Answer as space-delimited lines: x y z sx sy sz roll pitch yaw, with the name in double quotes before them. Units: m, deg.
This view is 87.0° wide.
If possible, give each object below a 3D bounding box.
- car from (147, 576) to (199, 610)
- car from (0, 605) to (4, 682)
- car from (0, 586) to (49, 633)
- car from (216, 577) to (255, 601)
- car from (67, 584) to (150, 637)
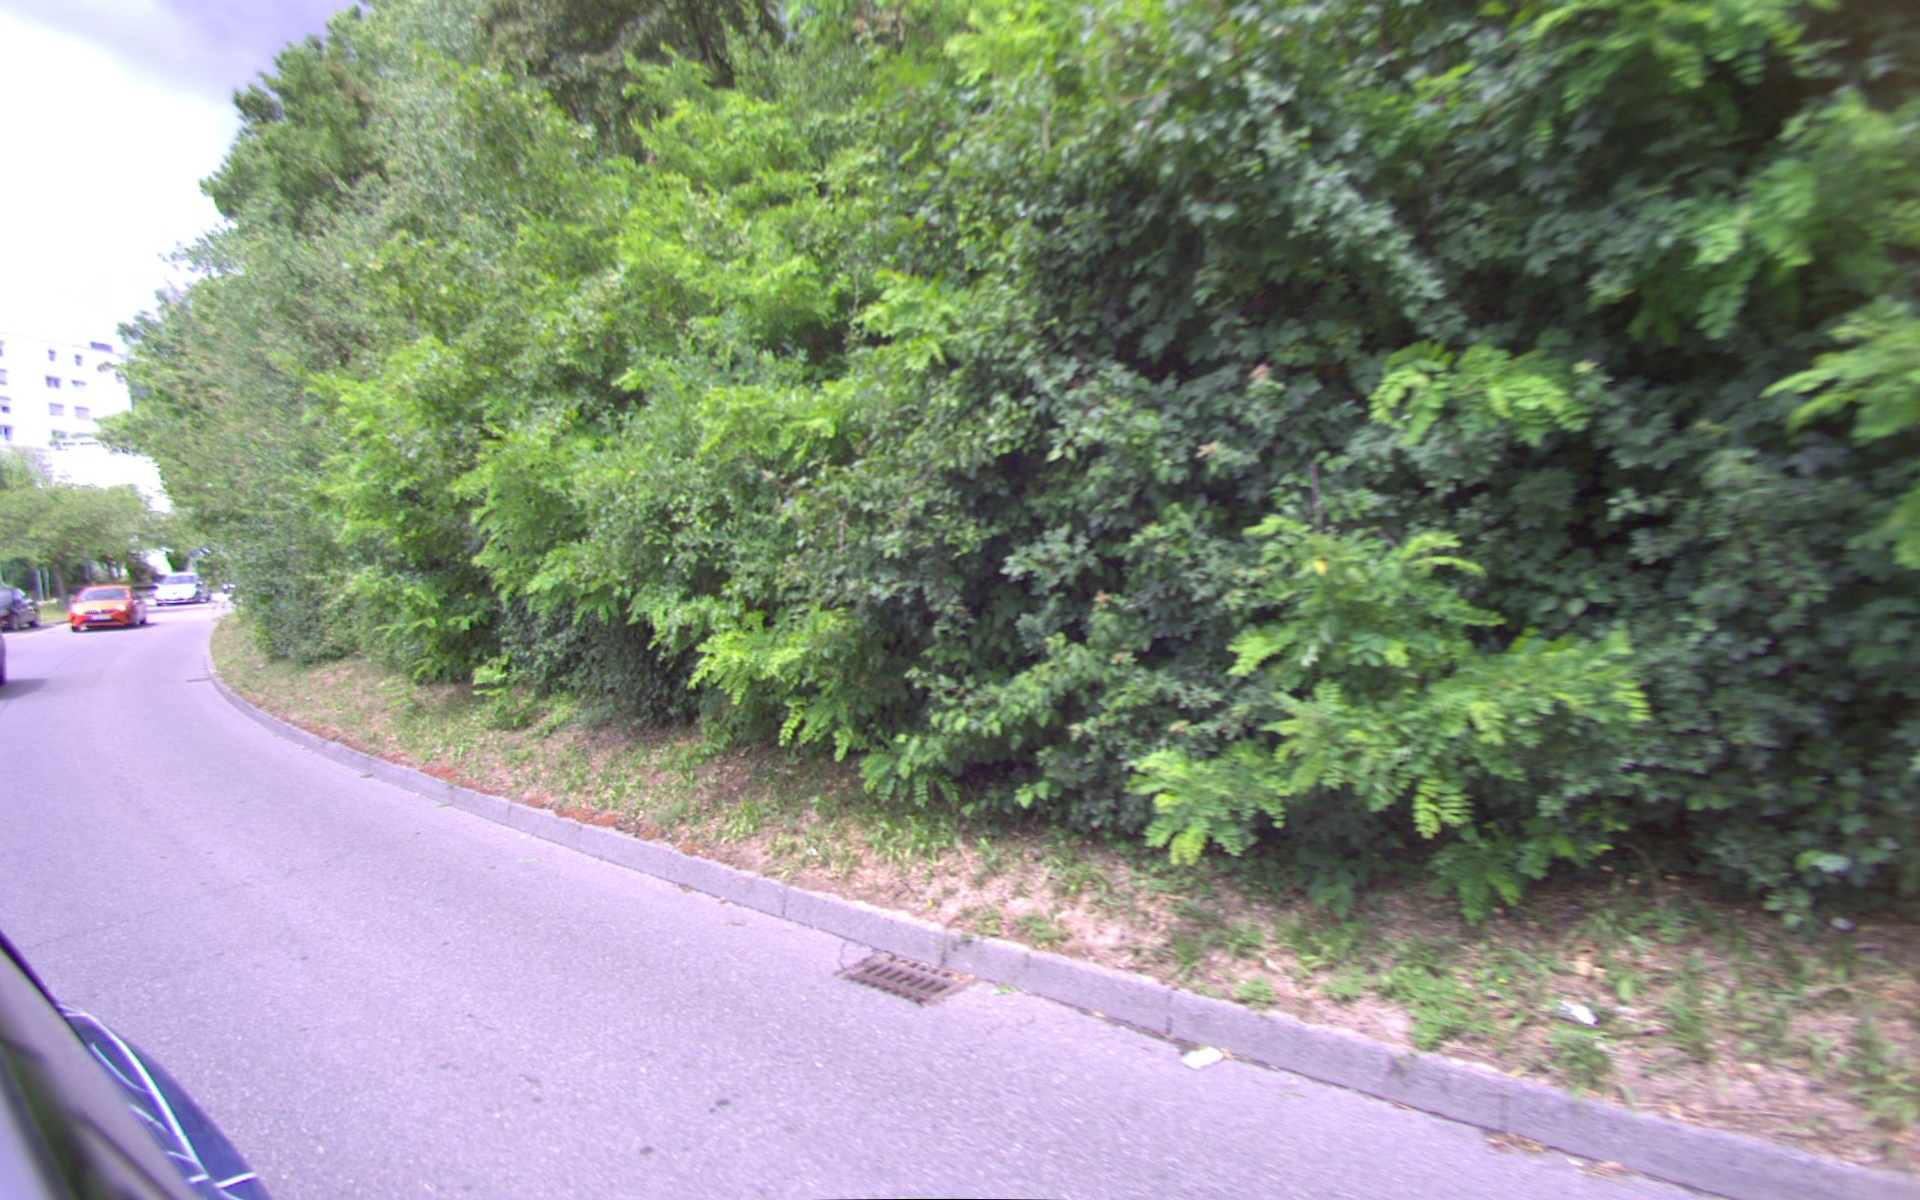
"car" -39.793 -0.399 51.144 1.755 1.462 4.006 -6 6 -41
"car" -16.240 0.679 15.592 1.785 1.621 3.730 -3 4 -38
"car" -32.853 0.334 34.541 1.752 1.445 4.347 -4 3 -31
"car" -45.299 -0.695 63.229 1.753 1.430 4.008 -3 2 -39
"car" -28.785 0.287 34.306 1.833 1.453 4.009 -6 6 -37
